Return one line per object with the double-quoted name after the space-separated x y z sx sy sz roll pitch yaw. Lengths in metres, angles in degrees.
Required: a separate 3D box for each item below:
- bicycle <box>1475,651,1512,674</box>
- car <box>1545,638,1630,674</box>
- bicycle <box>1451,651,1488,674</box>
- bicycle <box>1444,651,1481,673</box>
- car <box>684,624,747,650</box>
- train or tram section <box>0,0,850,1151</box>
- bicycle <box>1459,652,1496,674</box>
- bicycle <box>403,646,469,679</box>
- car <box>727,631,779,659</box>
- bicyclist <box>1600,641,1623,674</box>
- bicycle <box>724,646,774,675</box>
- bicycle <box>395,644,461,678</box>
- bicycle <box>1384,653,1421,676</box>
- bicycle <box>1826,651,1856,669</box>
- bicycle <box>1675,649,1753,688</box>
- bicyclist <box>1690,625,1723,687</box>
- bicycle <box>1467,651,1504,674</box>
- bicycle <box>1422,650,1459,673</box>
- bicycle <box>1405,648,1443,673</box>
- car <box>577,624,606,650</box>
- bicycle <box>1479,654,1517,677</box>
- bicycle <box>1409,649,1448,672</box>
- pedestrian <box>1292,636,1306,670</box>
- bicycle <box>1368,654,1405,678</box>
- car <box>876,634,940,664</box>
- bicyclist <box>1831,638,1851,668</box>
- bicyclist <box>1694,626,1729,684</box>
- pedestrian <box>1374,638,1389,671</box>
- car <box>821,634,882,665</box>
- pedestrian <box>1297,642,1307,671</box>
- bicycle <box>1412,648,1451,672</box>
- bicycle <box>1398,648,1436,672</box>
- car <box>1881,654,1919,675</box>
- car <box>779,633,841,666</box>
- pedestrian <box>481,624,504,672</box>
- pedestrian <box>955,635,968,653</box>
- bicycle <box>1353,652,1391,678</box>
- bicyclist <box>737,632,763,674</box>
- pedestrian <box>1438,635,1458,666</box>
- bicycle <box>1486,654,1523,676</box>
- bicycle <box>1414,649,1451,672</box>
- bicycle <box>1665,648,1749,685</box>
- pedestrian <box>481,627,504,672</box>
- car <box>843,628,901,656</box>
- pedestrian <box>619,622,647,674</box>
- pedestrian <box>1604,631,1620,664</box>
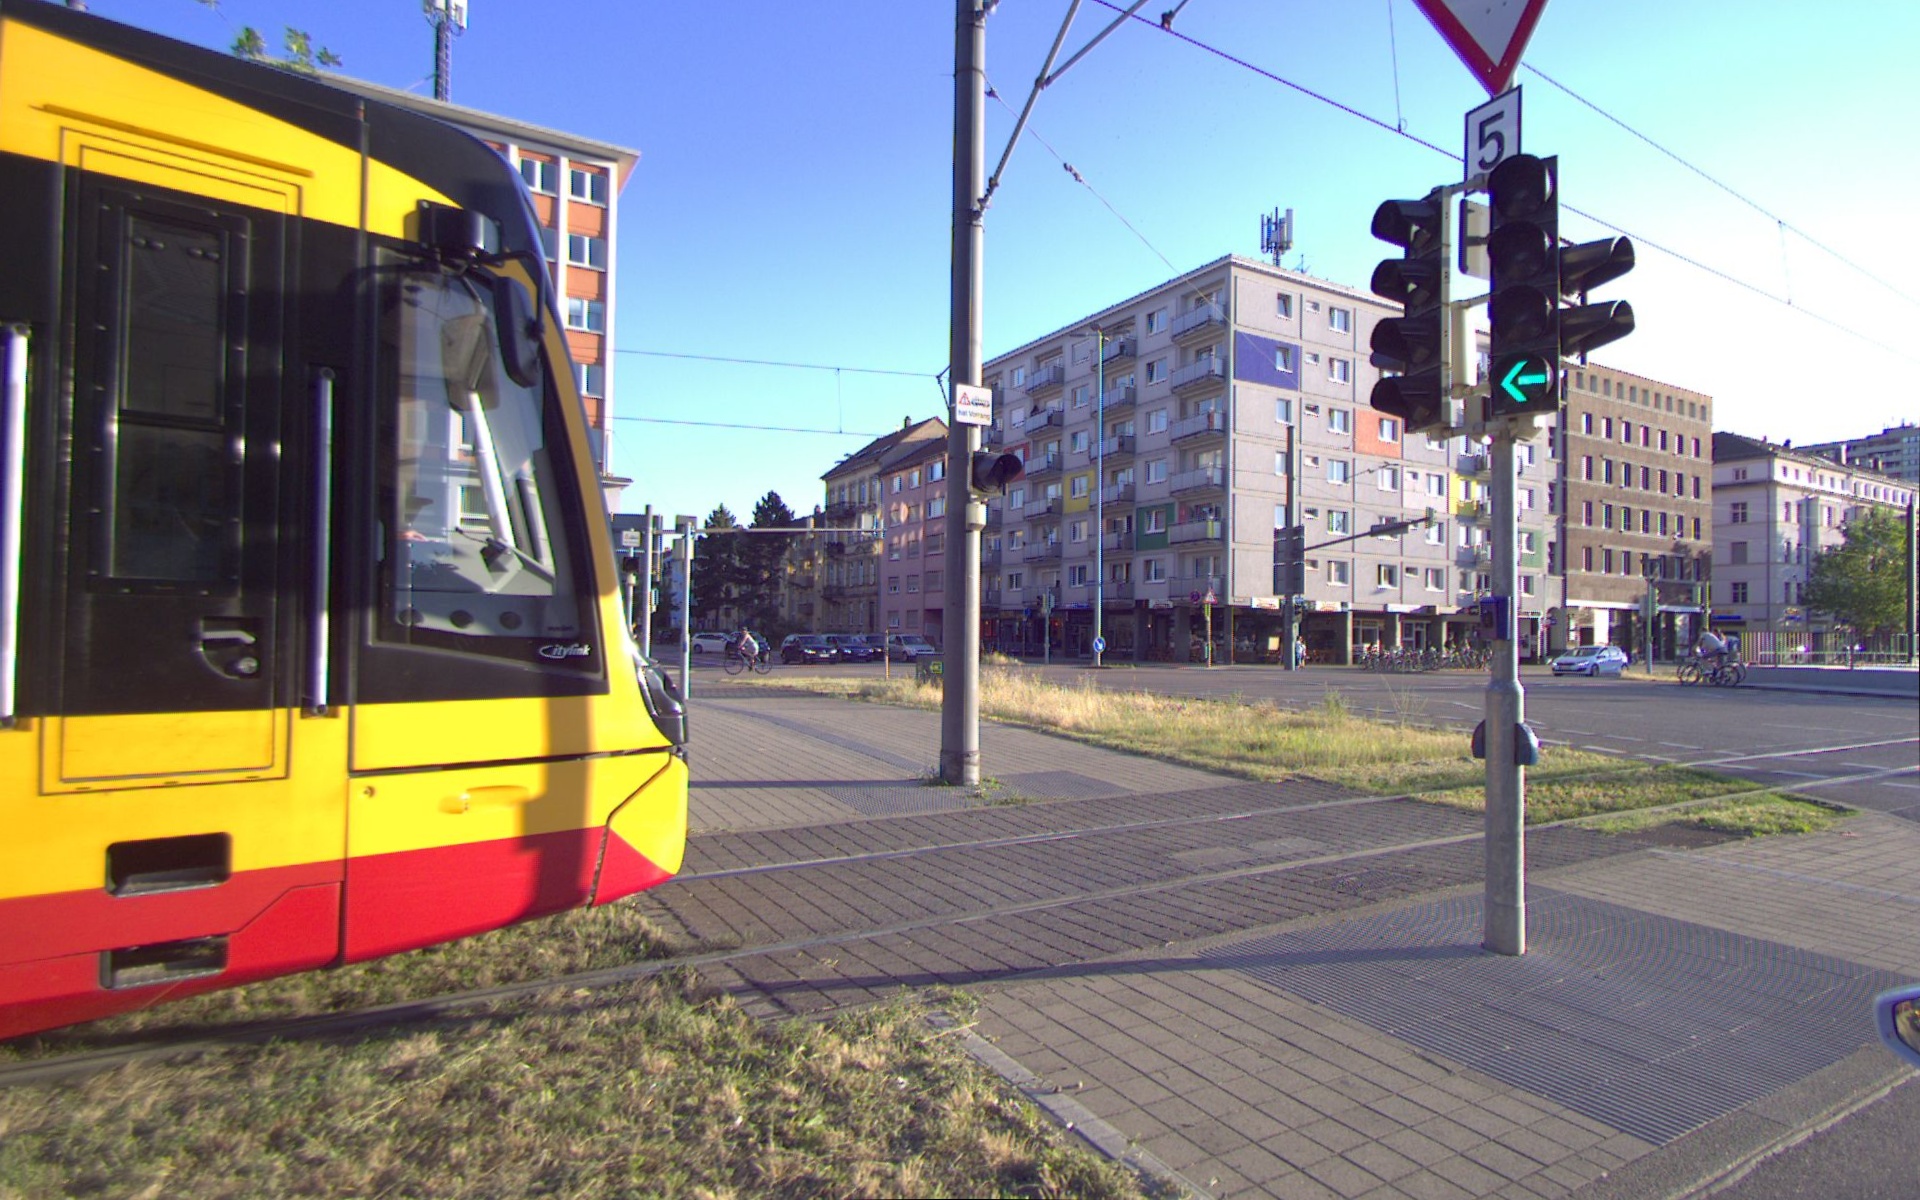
29.064 3.389 54.733 0.739 1.194 1.684 2 -2 -28 "bicycle"
29.317 2.606 46.941 3.951 1.639 1.682 2 -2 -29 "car"
27.255 3.343 53.757 0.561 1.134 1.753 2 -2 -29 "bicycle"
26.745 3.303 53.483 0.545 1.132 1.747 2 -2 -29 "bicycle"
-17.536 2.640 72.195 3.920 1.806 2.001 0 -1 18 "car"
-6.776 -0.522 1.842 13.068 3.788 2.894 2 -2 -31 "train or tram section"
27.819 3.381 54.053 0.626 1.139 1.720 3 -2 -28 "bicycle"
-18.108 2.146 34.713 1.973 1.089 0.465 2 -2 -31 "bicycle"
-12.090 2.600 58.521 1.975 1.551 3.971 2 -2 -28 "car"
35.528 3.127 54.778 0.779 1.765 0.701 2 -1 -19 "bicyclist"
-7.302 2.100 34.861 1.637 0.957 0.509 1 -1 -8 "bicycle"
-17.479 1.991 33.002 1.885 1.089 0.465 2 -2 -31 "bicycle"
22.724 3.304 51.576 0.592 1.154 1.749 2 -2 -29 "bicycle"
60.900 4.141 69.432 2.382 1.217 0.809 2 -2 -28 "bicycle"
22.957 2.069 30.610 1.879 1.089 0.629 0 -2 41 "bicycle"
22.842 1.697 30.733 0.783 1.842 0.643 0 -2 40 "bicyclist"
28.428 3.389 54.354 0.697 1.168 1.684 2 -2 -28 "bicycle"
25.814 3.312 54.004 0.598 1.151 1.763 2 -2 -29 "bicycle"
23.921 3.120 51.808 0.561 1.197 1.761 2 -2 -30 "bicycle"
-34.932 3.474 95.095 1.976 2.355 4.189 2 -2 -29 "car"
29.620 3.600 55.313 0.739 1.185 1.684 2 -2 -28 "bicycle"
24.790 3.191 53.149 0.632 1.176 1.822 2 -2 -29 "bicycle"
16.487 2.561 48.862 0.563 1.641 0.603 0 -2 29 "pedestrian"
21.925 3.368 51.657 0.601 1.157 1.768 2 -2 -29 "bicycle"
-2.761 2.534 52.660 1.974 1.505 3.974 2 -2 -26 "car"
60.914 3.681 69.445 0.912 2.040 0.794 2 -2 -28 "bicyclist"
24.200 1.756 32.340 0.867 1.842 0.535 0 -2 44 "bicyclist"
22.091 2.859 52.624 0.572 1.706 0.544 0 -2 39 "pedestrian"
-5.773 2.587 53.054 1.974 1.505 3.974 2 -2 -26 "car"
16.773 2.775 49.301 0.376 1.401 0.394 0 -2 32 "pedestrian"
24.458 3.117 52.168 0.644 1.206 1.780 2 -2 -30 "bicycle"
23.422 3.068 51.508 0.534 1.183 1.758 2 -2 -29 "bicycle"
70.267 4.745 74.327 3.948 1.439 1.813 2 -2 -27 "car"
-7.385 2.415 49.237 1.862 1.505 3.974 2 -2 -26 "car"
-18.376 1.875 39.471 0.705 1.842 0.746 2 -2 -29 "pedestrian"
0.117 3.232 74.085 0.705 1.272 0.786 2 -4 -33 "pedestrian"
20.946 3.287 51.129 0.631 1.224 1.786 2 -2 -30 "bicycle"
-7.284 1.829 34.865 0.841 1.445 0.500 1 -1 -8 "bicyclist"
29.213 3.005 60.113 0.715 1.836 0.820 2 -2 -40 "pedestrian"
30.206 3.582 55.756 0.688 1.159 1.684 2 -2 -28 "bicycle"
25.246 3.238 53.659 0.598 1.174 1.768 2 -2 -29 "bicycle"
24.097 2.125 32.439 2.141 1.098 0.536 0 -2 44 "bicycle"
-18.081 1.915 38.830 0.722 1.707 0.580 2 -2 -31 "pedestrian"
-5.004 2.346 56.651 1.974 1.505 3.974 2 -2 -26 "car"
-12.426 1.815 38.143 0.708 1.972 0.720 0 -2 43 "pedestrian"
43.968 3.202 67.752 0.783 2.206 0.599 2 -2 -30 "pedestrian"
